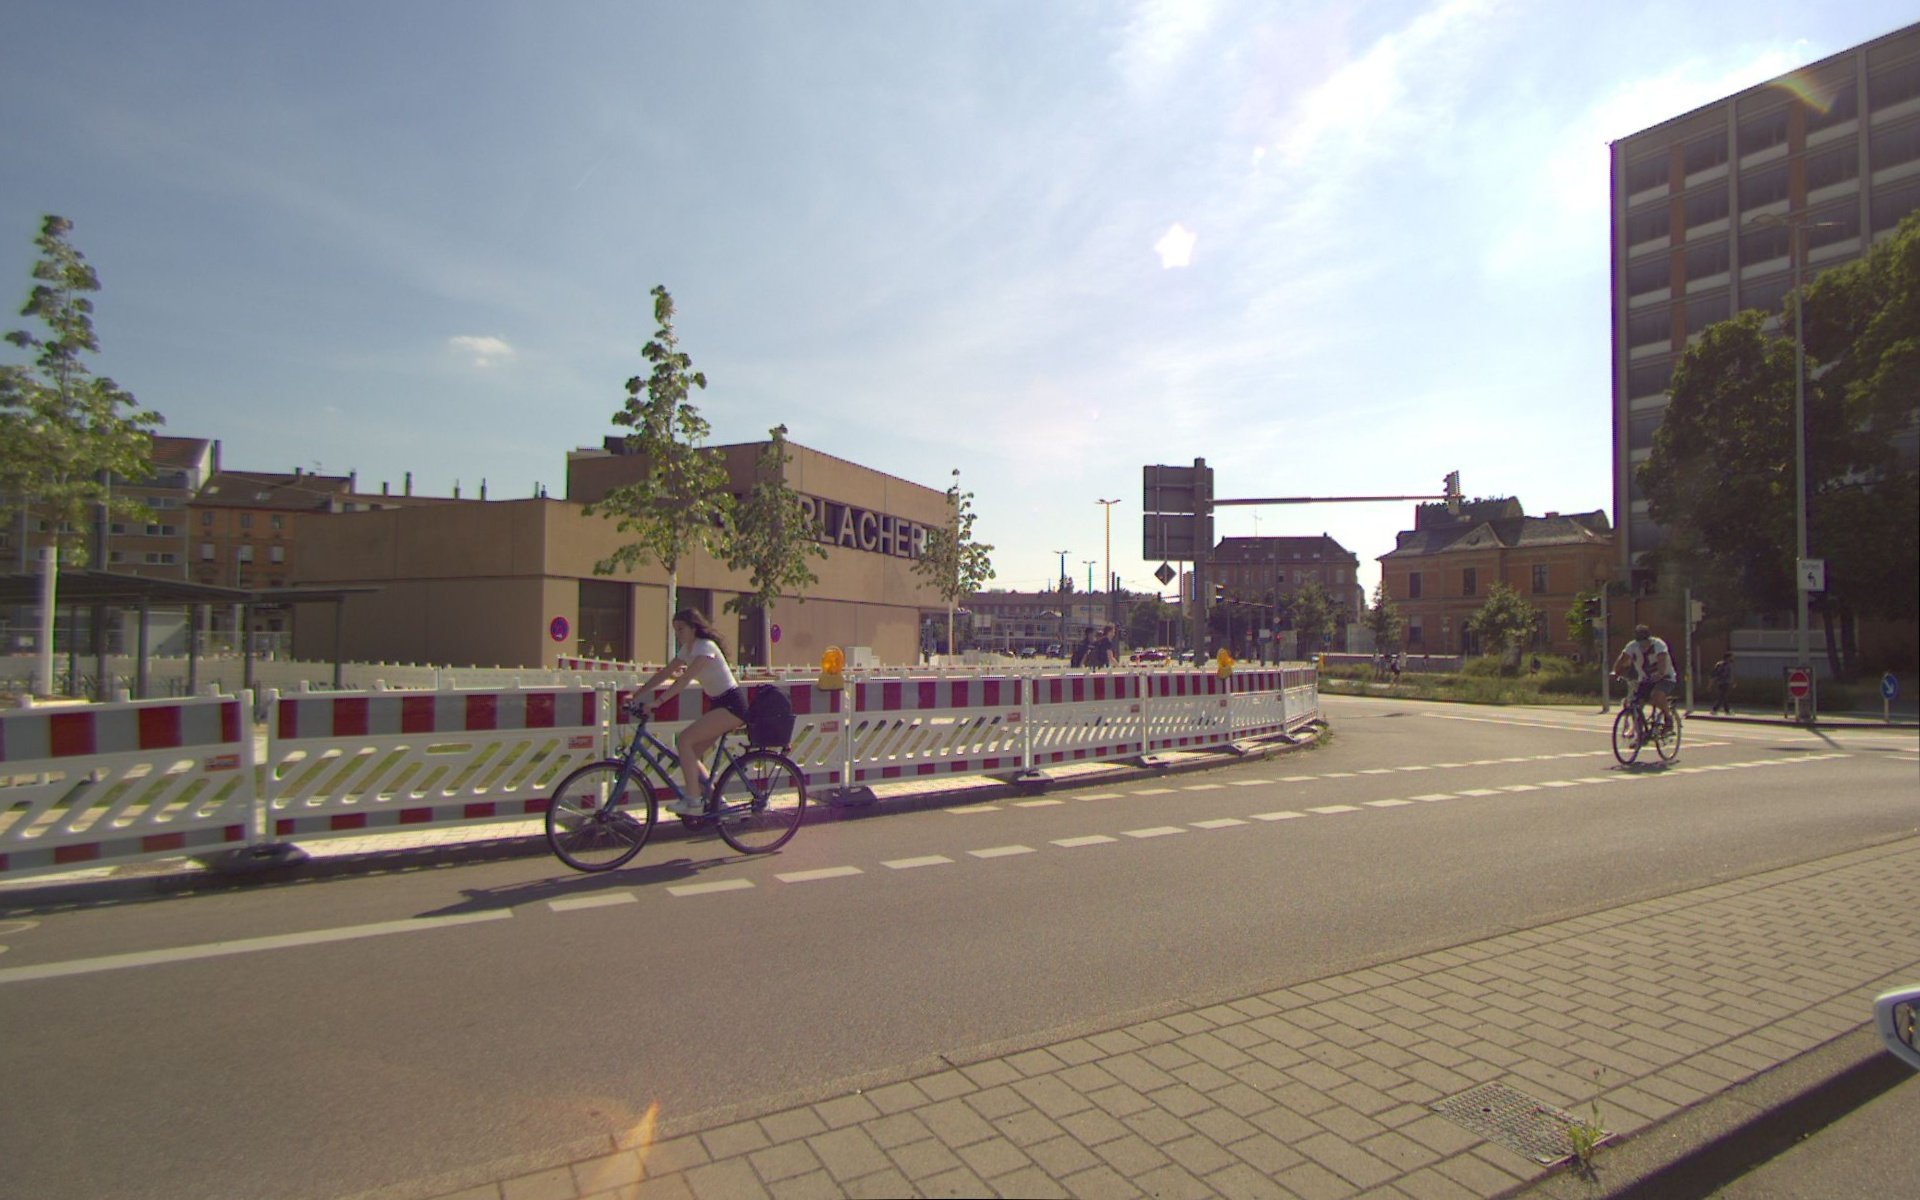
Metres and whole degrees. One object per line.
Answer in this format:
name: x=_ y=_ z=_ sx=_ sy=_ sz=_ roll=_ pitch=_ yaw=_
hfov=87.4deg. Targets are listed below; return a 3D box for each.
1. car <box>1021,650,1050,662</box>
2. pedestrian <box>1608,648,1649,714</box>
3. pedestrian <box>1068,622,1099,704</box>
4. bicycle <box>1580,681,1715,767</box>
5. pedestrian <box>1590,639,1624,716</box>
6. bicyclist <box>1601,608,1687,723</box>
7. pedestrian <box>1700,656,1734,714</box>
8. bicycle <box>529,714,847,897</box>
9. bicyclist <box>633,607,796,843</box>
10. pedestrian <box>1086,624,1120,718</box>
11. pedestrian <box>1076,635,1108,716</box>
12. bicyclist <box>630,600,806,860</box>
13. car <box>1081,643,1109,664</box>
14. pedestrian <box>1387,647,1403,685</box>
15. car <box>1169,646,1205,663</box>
car: x=10.309 y=7.632 z=137.031 sx=3.973 sy=1.739 sz=1.630 roll=3 pitch=-4 yaw=-43
pedestrian: x=18.389 y=2.224 z=27.630 sx=0.728 sy=1.775 sz=1.104 roll=-2 pitch=-5 yaw=44
pedestrian: x=2.750 y=1.397 z=22.402 sx=0.559 sy=1.801 sz=0.544 roll=1 pitch=-2 yaw=-9
bicycle: x=8.944 y=1.570 z=13.044 sx=2.008 sy=0.990 sz=0.700 roll=2 pitch=-3 yaw=-32
pedestrian: x=17.669 y=2.109 z=27.445 sx=0.604 sy=2.040 sz=0.687 roll=2 pitch=-1 yaw=23
bicyclist: x=8.885 y=0.857 z=13.049 sx=1.019 sy=1.435 sz=0.536 roll=3 pitch=-4 yaw=-32
pedestrian: x=20.261 y=2.271 z=26.882 sx=0.624 sy=1.511 sz=0.613 roll=-2 pitch=-3 yaw=44
bicycle: x=-1.752 y=1.286 z=6.655 sx=1.948 sy=0.973 sz=0.615 roll=2 pitch=-5 yaw=-35
bicyclist: x=-1.651 y=0.810 z=6.763 sx=0.911 sy=1.462 sz=0.615 roll=2 pitch=-5 yaw=-35
pedestrian: x=3.006 y=1.484 z=21.104 sx=0.595 sy=1.940 sz=0.441 roll=1 pitch=-2 yaw=-9
pedestrian: x=2.846 y=1.630 z=21.752 sx=0.559 sy=1.731 sz=0.539 roll=1 pitch=-2 yaw=-9
bicyclist: x=-1.630 y=0.838 z=6.778 sx=1.004 sy=1.602 sz=0.615 roll=2 pitch=-5 yaw=-35
car: x=13.826 y=5.485 z=103.081 sx=1.961 sy=2.040 sz=4.000 roll=-1 pitch=-3 yaw=21
pedestrian: x=23.865 y=3.604 z=55.132 sx=0.517 sy=2.040 sz=0.622 roll=2 pitch=-3 yaw=-34
car: x=27.463 y=6.592 z=121.600 sx=3.953 sy=2.040 sz=1.984 roll=2 pitch=-3 yaw=-30
